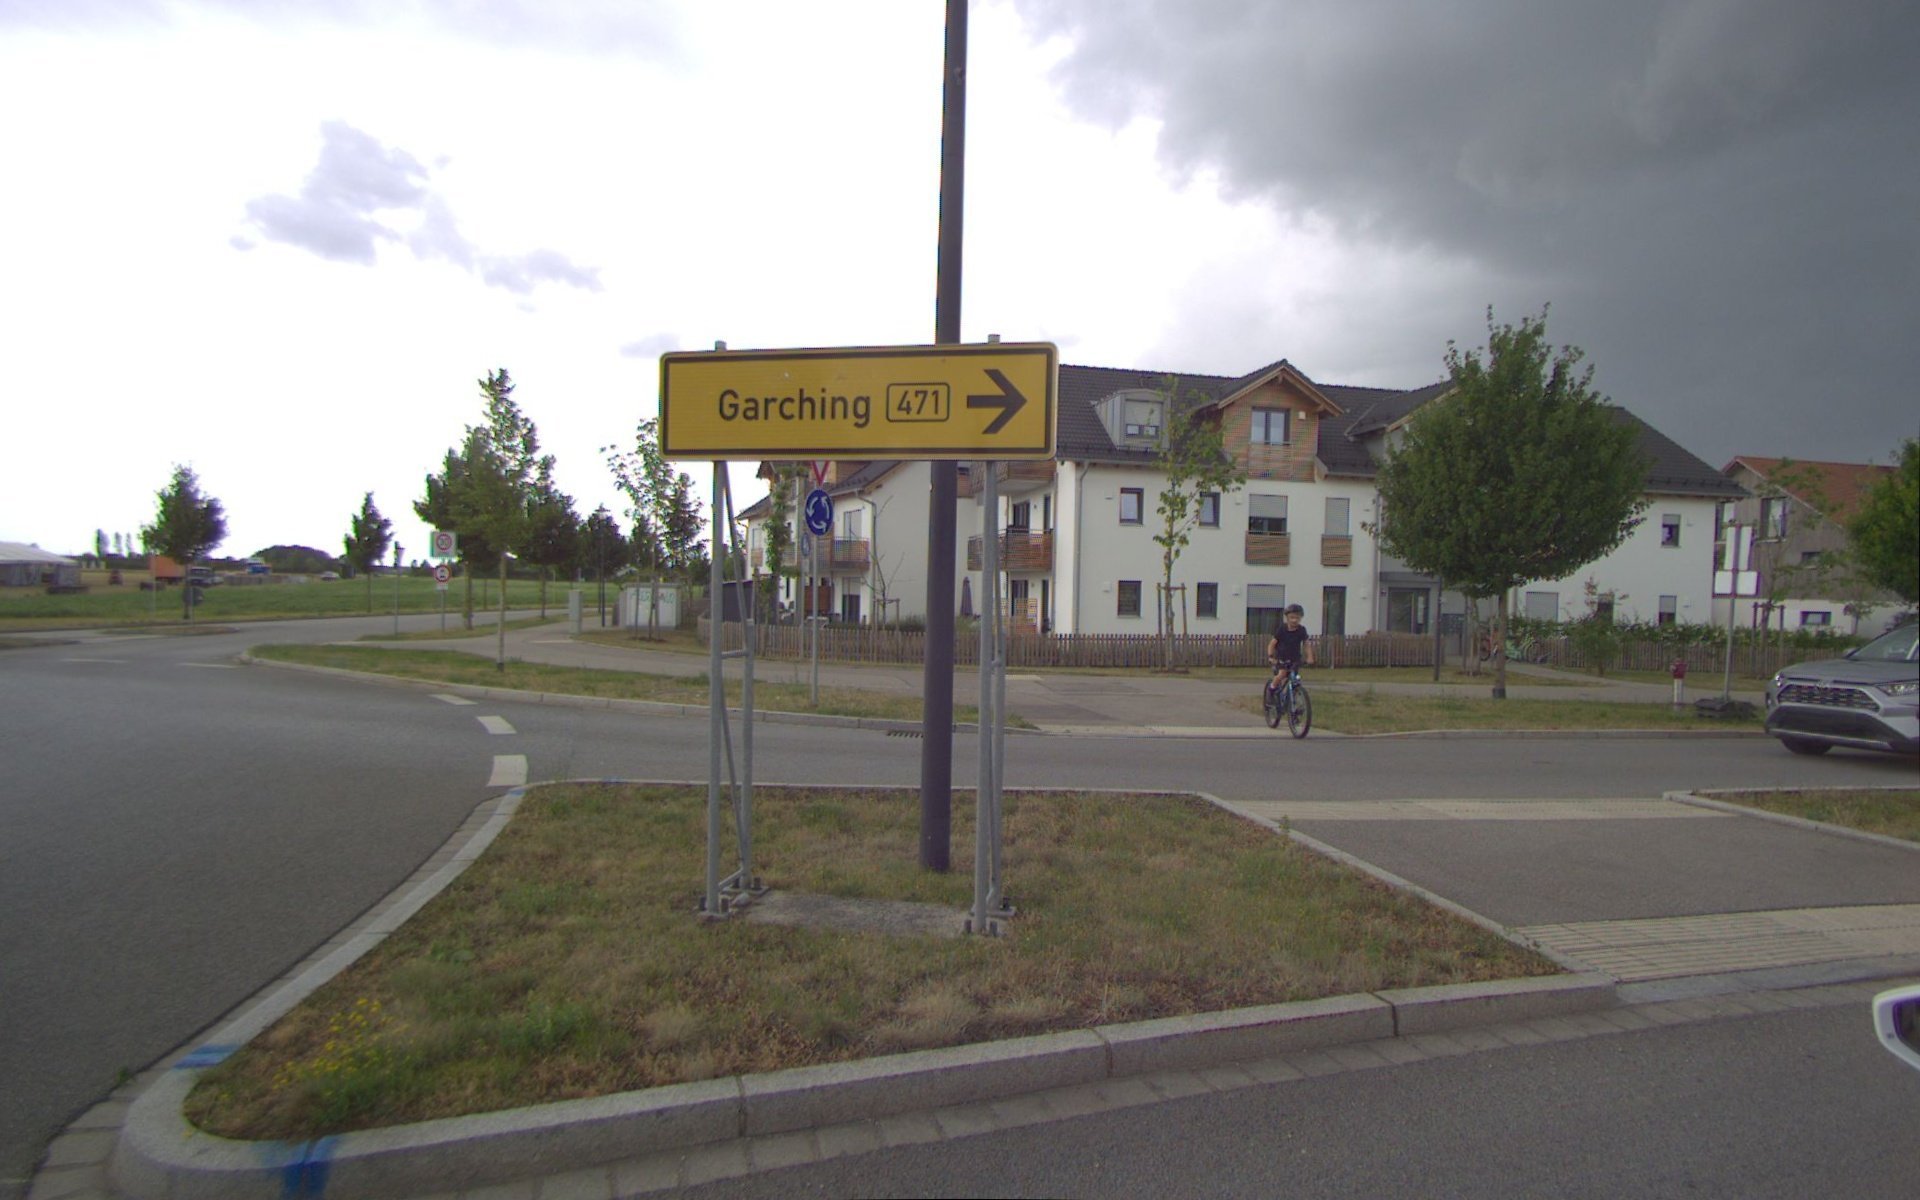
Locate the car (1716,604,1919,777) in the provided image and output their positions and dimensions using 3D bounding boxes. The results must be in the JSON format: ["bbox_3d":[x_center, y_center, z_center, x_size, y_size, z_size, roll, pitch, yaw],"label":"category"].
[{"bbox_3d":[11.446,0.976,11.468,4.553,1.726,1.996,2,-1,-12],"label":"car"}]

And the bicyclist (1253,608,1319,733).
[{"bbox_3d":[3.990,0.838,12.344,0.710,1.466,0.869,1,0,16],"label":"bicyclist"}]

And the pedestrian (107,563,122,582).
[{"bbox_3d":[-93.337,-2.997,110.871,1.037,2.041,1.054,1,1,-25],"label":"pedestrian"}]

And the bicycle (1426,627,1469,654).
[{"bbox_3d":[16.464,1.362,33.939,1.314,0.854,0.368,2,3,-12],"label":"bicycle"}]

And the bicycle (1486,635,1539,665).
[{"bbox_3d":[17.103,1.546,31.109,1.520,0.854,0.368,2,3,-12],"label":"bicycle"}]

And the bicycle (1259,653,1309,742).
[{"bbox_3d":[3.996,1.168,12.465,0.487,0.959,1.714,1,-1,15],"label":"bicycle"}]

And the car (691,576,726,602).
[{"bbox_3d":[-23.810,-1.044,95.415,1.960,2.284,4.571,2,2,2],"label":"car"}]
